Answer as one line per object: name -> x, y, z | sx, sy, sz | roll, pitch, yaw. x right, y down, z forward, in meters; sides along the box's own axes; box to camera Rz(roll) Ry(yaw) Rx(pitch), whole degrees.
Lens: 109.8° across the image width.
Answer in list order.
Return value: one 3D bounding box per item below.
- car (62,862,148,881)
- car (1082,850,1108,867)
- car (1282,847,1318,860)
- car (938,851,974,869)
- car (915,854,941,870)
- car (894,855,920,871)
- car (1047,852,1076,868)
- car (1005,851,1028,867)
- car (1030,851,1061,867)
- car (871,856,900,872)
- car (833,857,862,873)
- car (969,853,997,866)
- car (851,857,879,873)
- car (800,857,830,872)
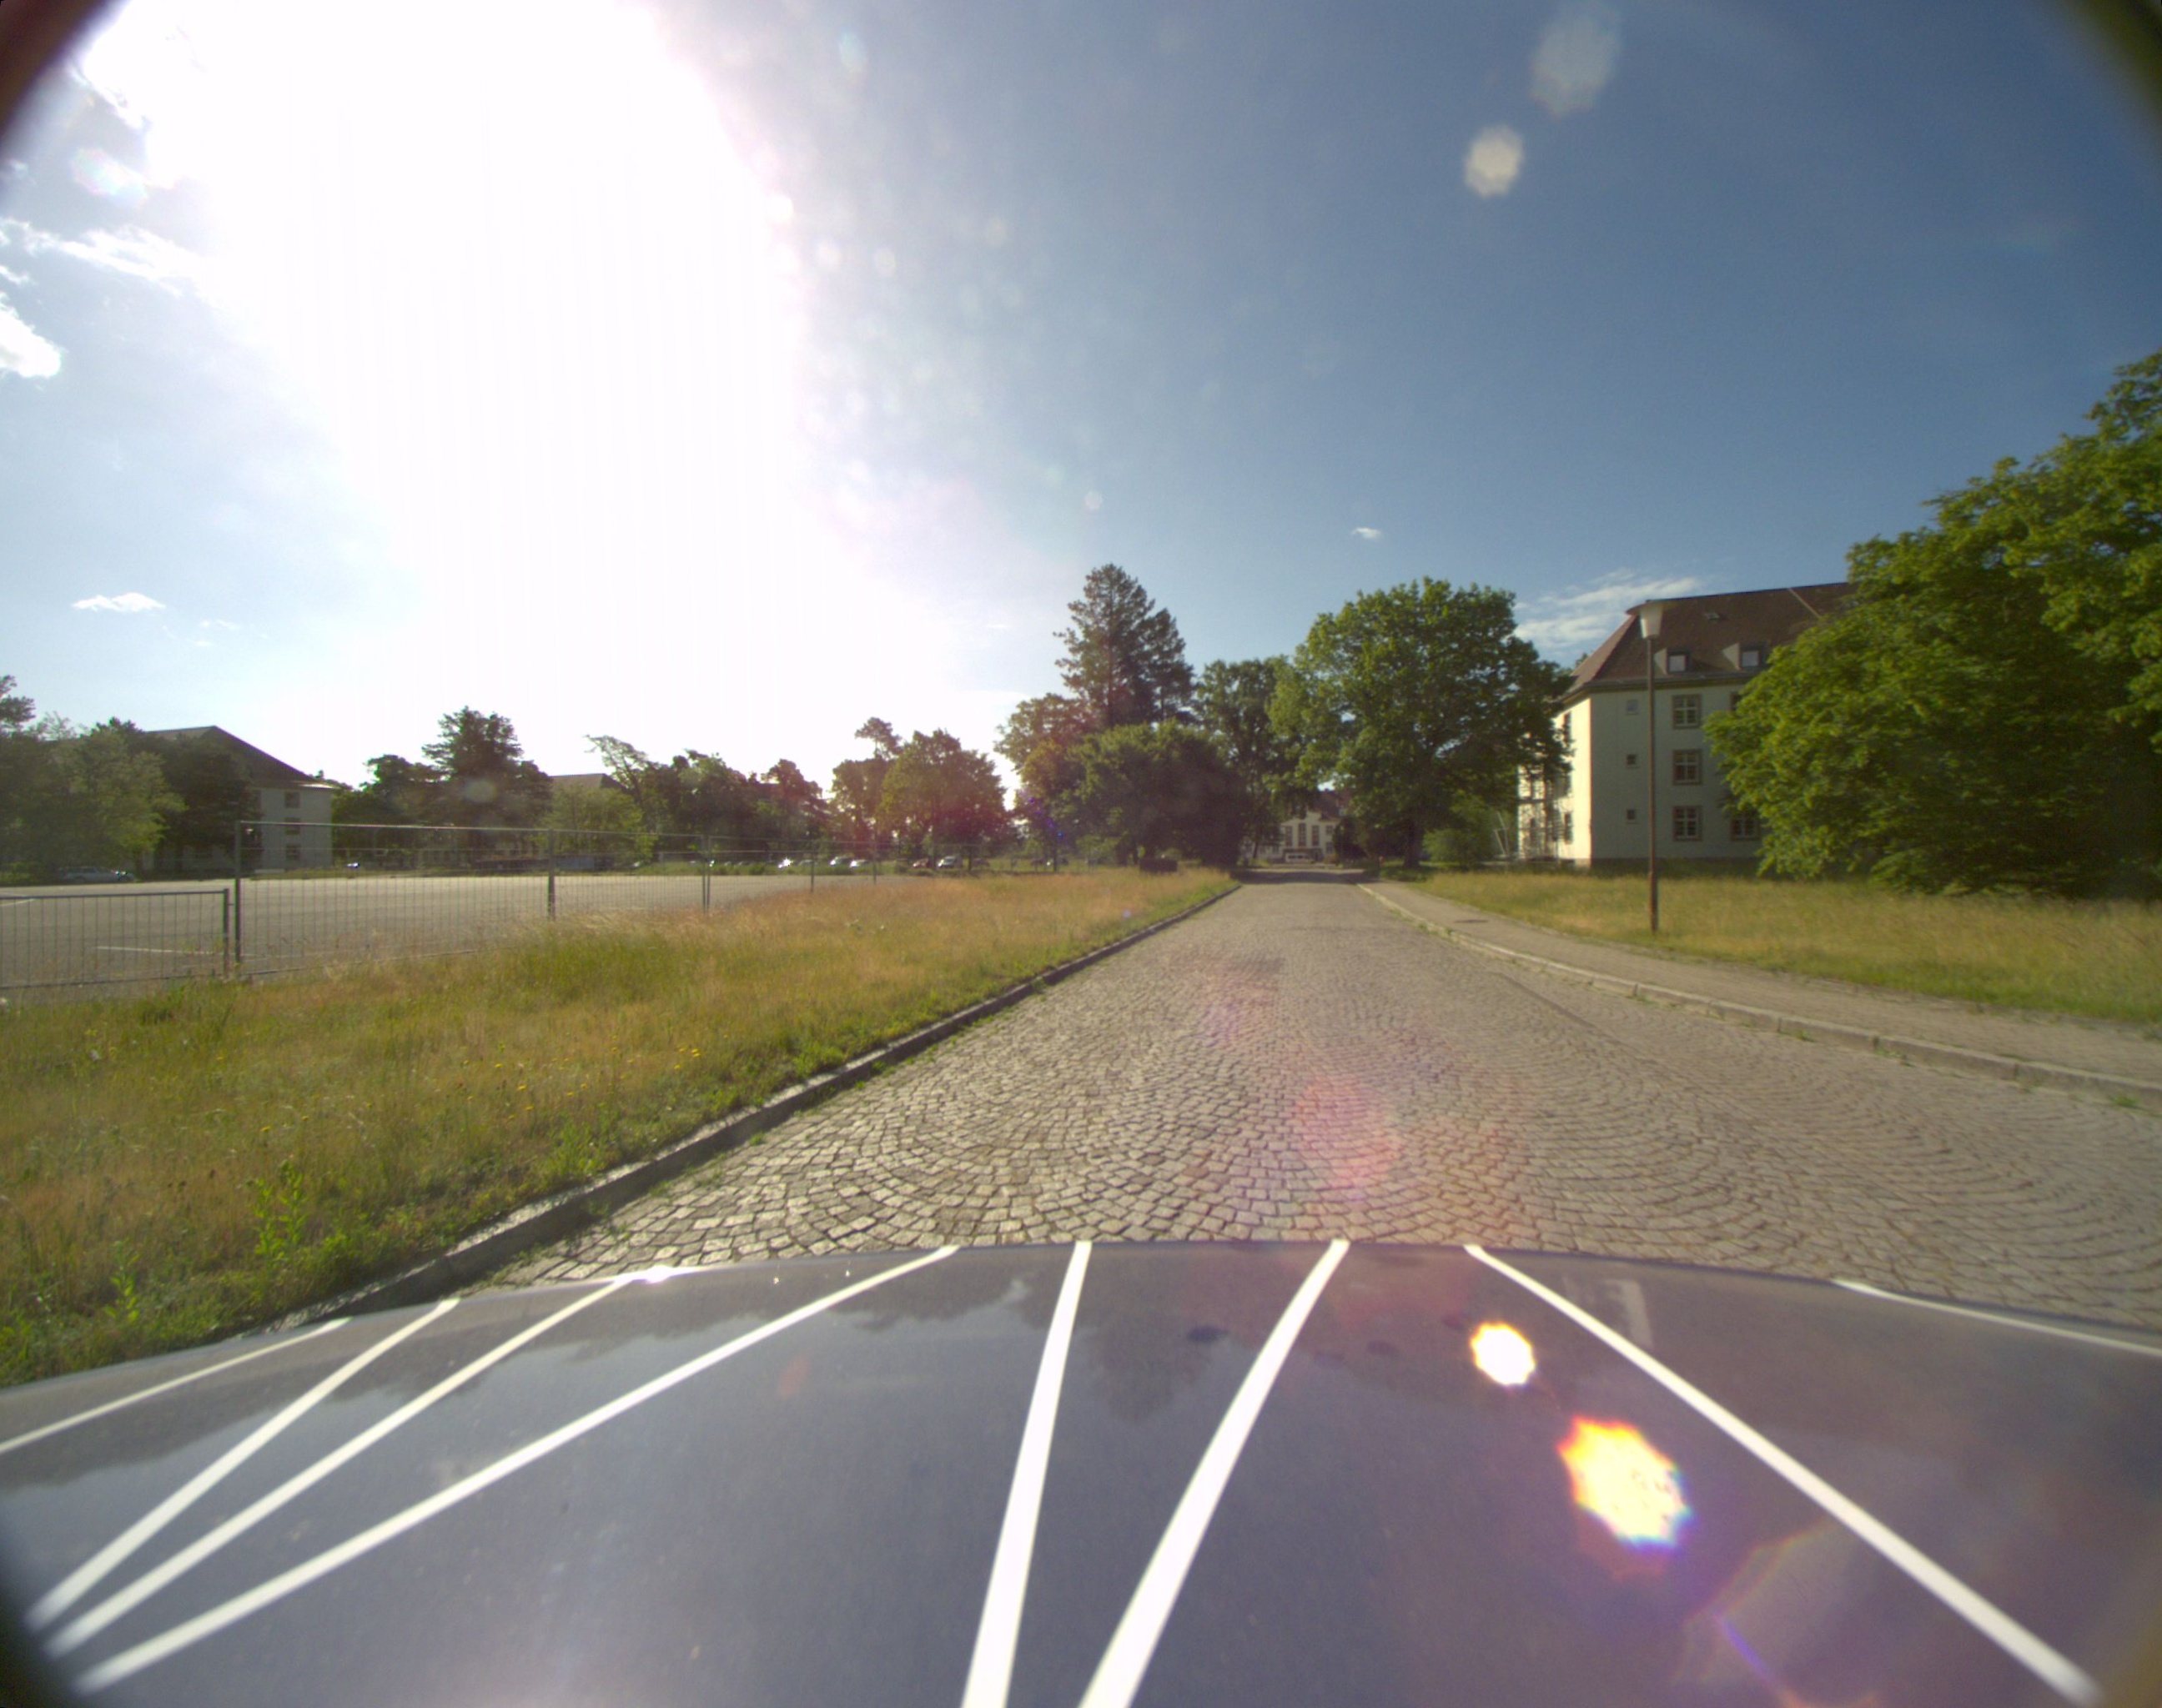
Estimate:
car -> -83.491, 1.477, 65.064 | 1.996, 1.573, 4.004 | 0, 0, 12
car -> 1.686, 0.499, 90.570 | 2.243, 2.002, 4.353 | 0, 0, 13
car -> 41.879, -0.017, 145.334 | 6.437, 2.452, 2.466 | 0, 1, 17
car -> -15.800, 0.721, 96.444 | 1.996, 2.002, 6.040 | -2, 1, 17
car -> -19.508, 1.035, 97.152 | 1.739, 2.002, 3.624 | 0, 0, 16
car -> -22.289, 1.148, 97.617 | 1.739, 2.002, 3.624 | 0, 0, 16
car -> -2.340, 0.735, 92.012 | 2.243, 1.828, 4.355 | 0, 0, 17
car -> -8.056, 0.579, 94.816 | 1.739, 2.002, 3.624 | 0, 0, 16
car -> -4.378, 0.616, 93.456 | 2.242, 1.828, 4.355 | 0, 0, 20
car -> -25.672, 1.353, 100.012 | 1.996, 2.002, 4.004 | -1, 0, 15
car -> -30.648, 1.473, 99.852 | 1.739, 2.002, 3.856 | 0, 0, 18
car -> -12.254, 0.659, 95.104 | 1.996, 1.642, 4.005 | 0, 0, 16
car -> -28.256, 1.379, 99.293 | 1.739, 2.002, 3.856 | 0, 0, 16
car -> -35.626, 1.360, 101.751 | 1.739, 2.002, 3.856 | 0, 0, 18
